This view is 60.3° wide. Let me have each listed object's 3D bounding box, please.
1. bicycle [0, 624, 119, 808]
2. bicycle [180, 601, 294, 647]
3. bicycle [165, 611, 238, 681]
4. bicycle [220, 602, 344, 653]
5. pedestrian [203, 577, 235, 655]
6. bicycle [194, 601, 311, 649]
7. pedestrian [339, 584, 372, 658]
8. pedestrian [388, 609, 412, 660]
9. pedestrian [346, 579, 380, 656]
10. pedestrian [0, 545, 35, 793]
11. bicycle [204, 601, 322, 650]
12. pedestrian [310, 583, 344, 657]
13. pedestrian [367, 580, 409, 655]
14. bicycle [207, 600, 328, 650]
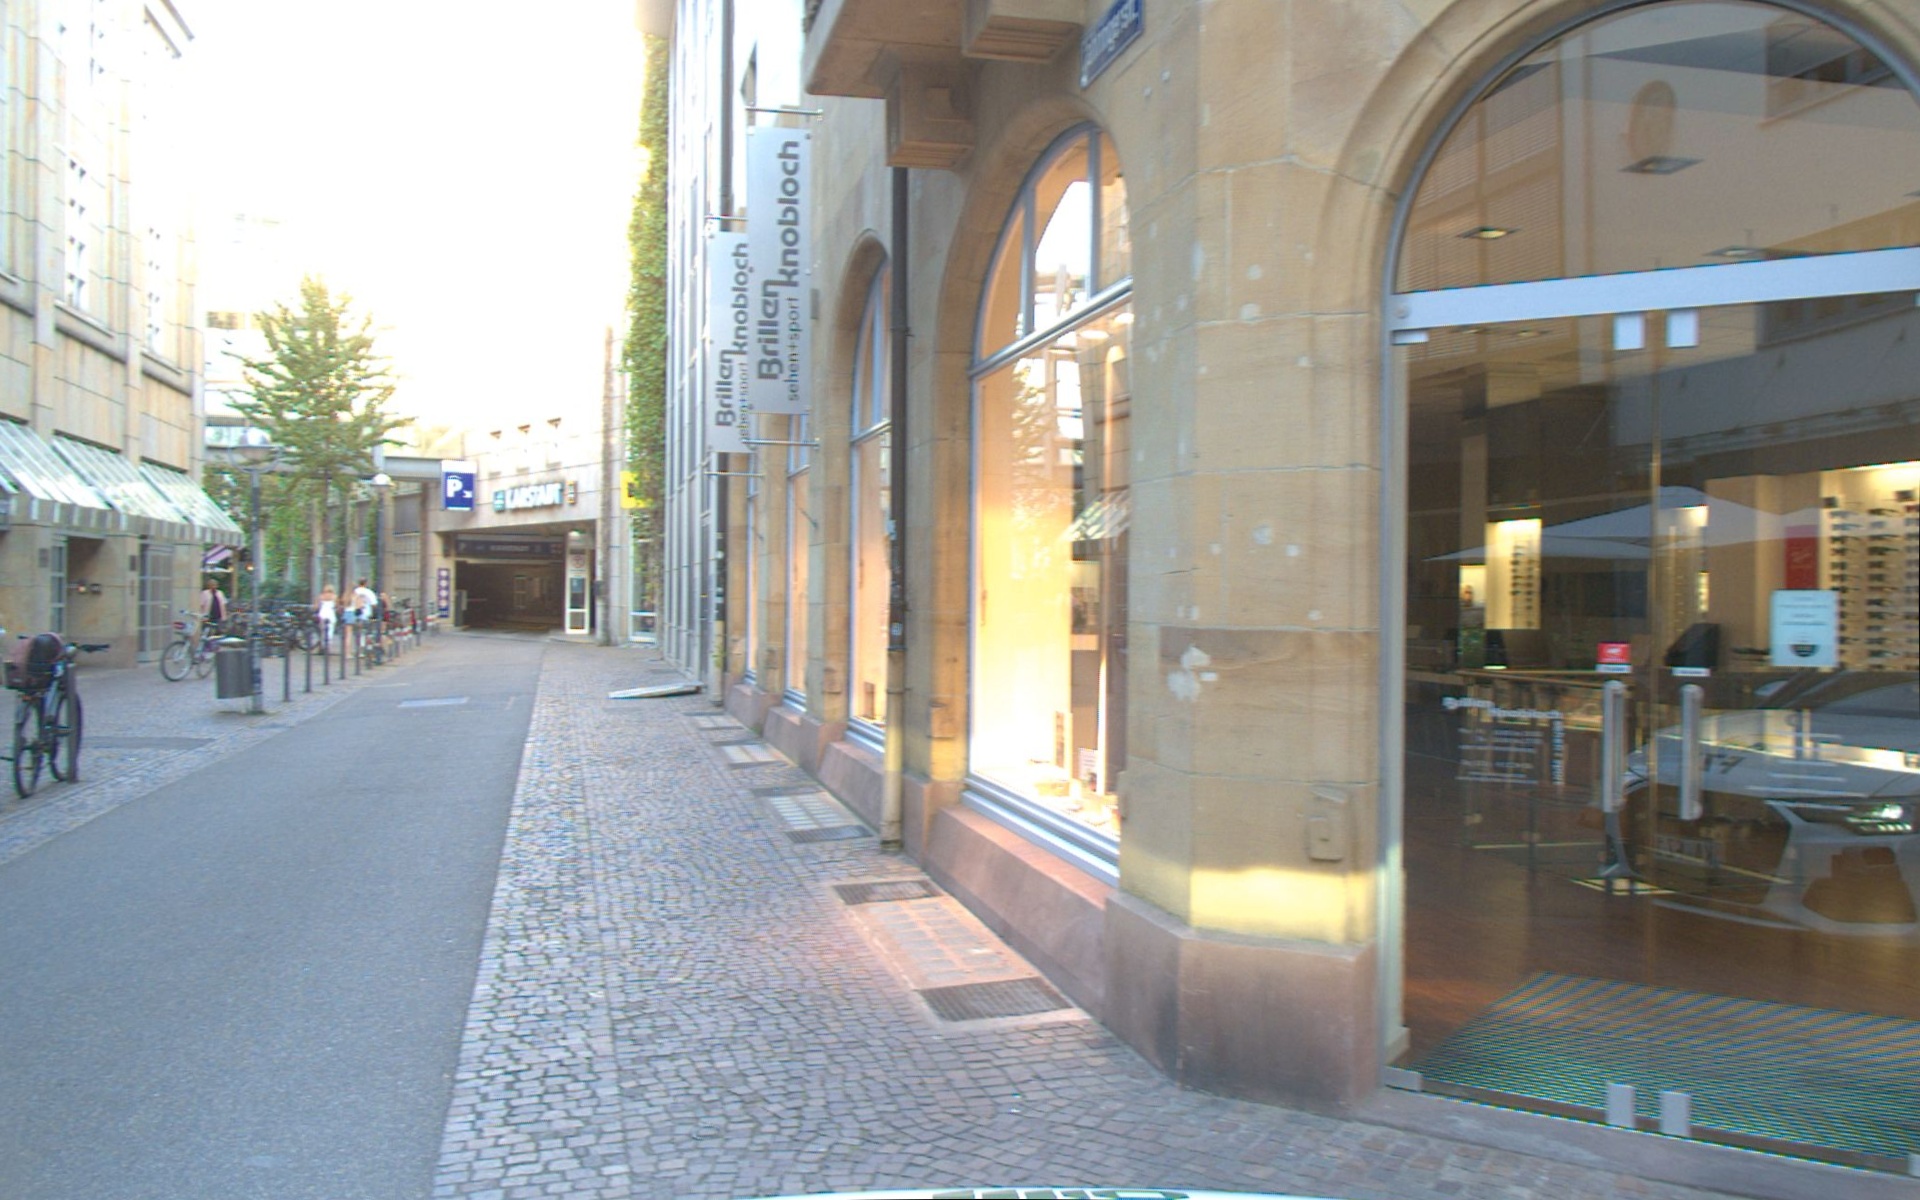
[{"bbox_3d":[-6.825,0.833,12.581,0.405,1.254,1.819,0,0,-16],"label":"bicycle"},{"bbox_3d":[-19.347,0.628,44.293,2.731,1.221,0.725,0,0,-33],"label":"bicycle"},{"bbox_3d":[-12.840,0.760,28.058,0.471,1.100,2.239,0,0,-7],"label":"bicycle"},{"bbox_3d":[-16.563,0.656,40.415,2.731,1.221,0.725,0,0,-33],"label":"bicycle"},{"bbox_3d":[-17.350,0.365,38.714,0.648,1.795,0.611,0,0,-27],"label":"pedestrian"},{"bbox_3d":[-18.430,0.639,43.127,2.731,1.221,0.749,0,0,-33],"label":"bicycle"},{"bbox_3d":[-13.641,0.474,37.324,0.574,1.632,0.625,1,-1,-13],"label":"pedestrian"},{"bbox_3d":[-13.103,0.810,38.723,0.458,1.188,0.520,1,-1,-13],"label":"pedestrian"},{"bbox_3d":[-13.948,0.409,38.672,0.619,1.788,0.796,1,-1,-13],"label":"pedestrian"},{"bbox_3d":[-7.444,0.506,12.463,0.599,1.822,0.907,0,0,-15],"label":"pedestrian"},{"bbox_3d":[-17.895,0.646,42.489,2.731,1.221,0.725,0,0,-33],"label":"bicycle"},{"bbox_3d":[-14.285,0.450,37.324,0.580,1.632,0.663,1,-1,-13],"label":"pedestrian"},{"bbox_3d":[-13.874,0.416,40.128,0.849,1.788,0.796,1,-1,-13],"label":"pedestrian"},{"bbox_3d":[-17.436,0.622,41.672,2.731,1.221,0.725,0,0,-33],"label":"bicycle"}]
